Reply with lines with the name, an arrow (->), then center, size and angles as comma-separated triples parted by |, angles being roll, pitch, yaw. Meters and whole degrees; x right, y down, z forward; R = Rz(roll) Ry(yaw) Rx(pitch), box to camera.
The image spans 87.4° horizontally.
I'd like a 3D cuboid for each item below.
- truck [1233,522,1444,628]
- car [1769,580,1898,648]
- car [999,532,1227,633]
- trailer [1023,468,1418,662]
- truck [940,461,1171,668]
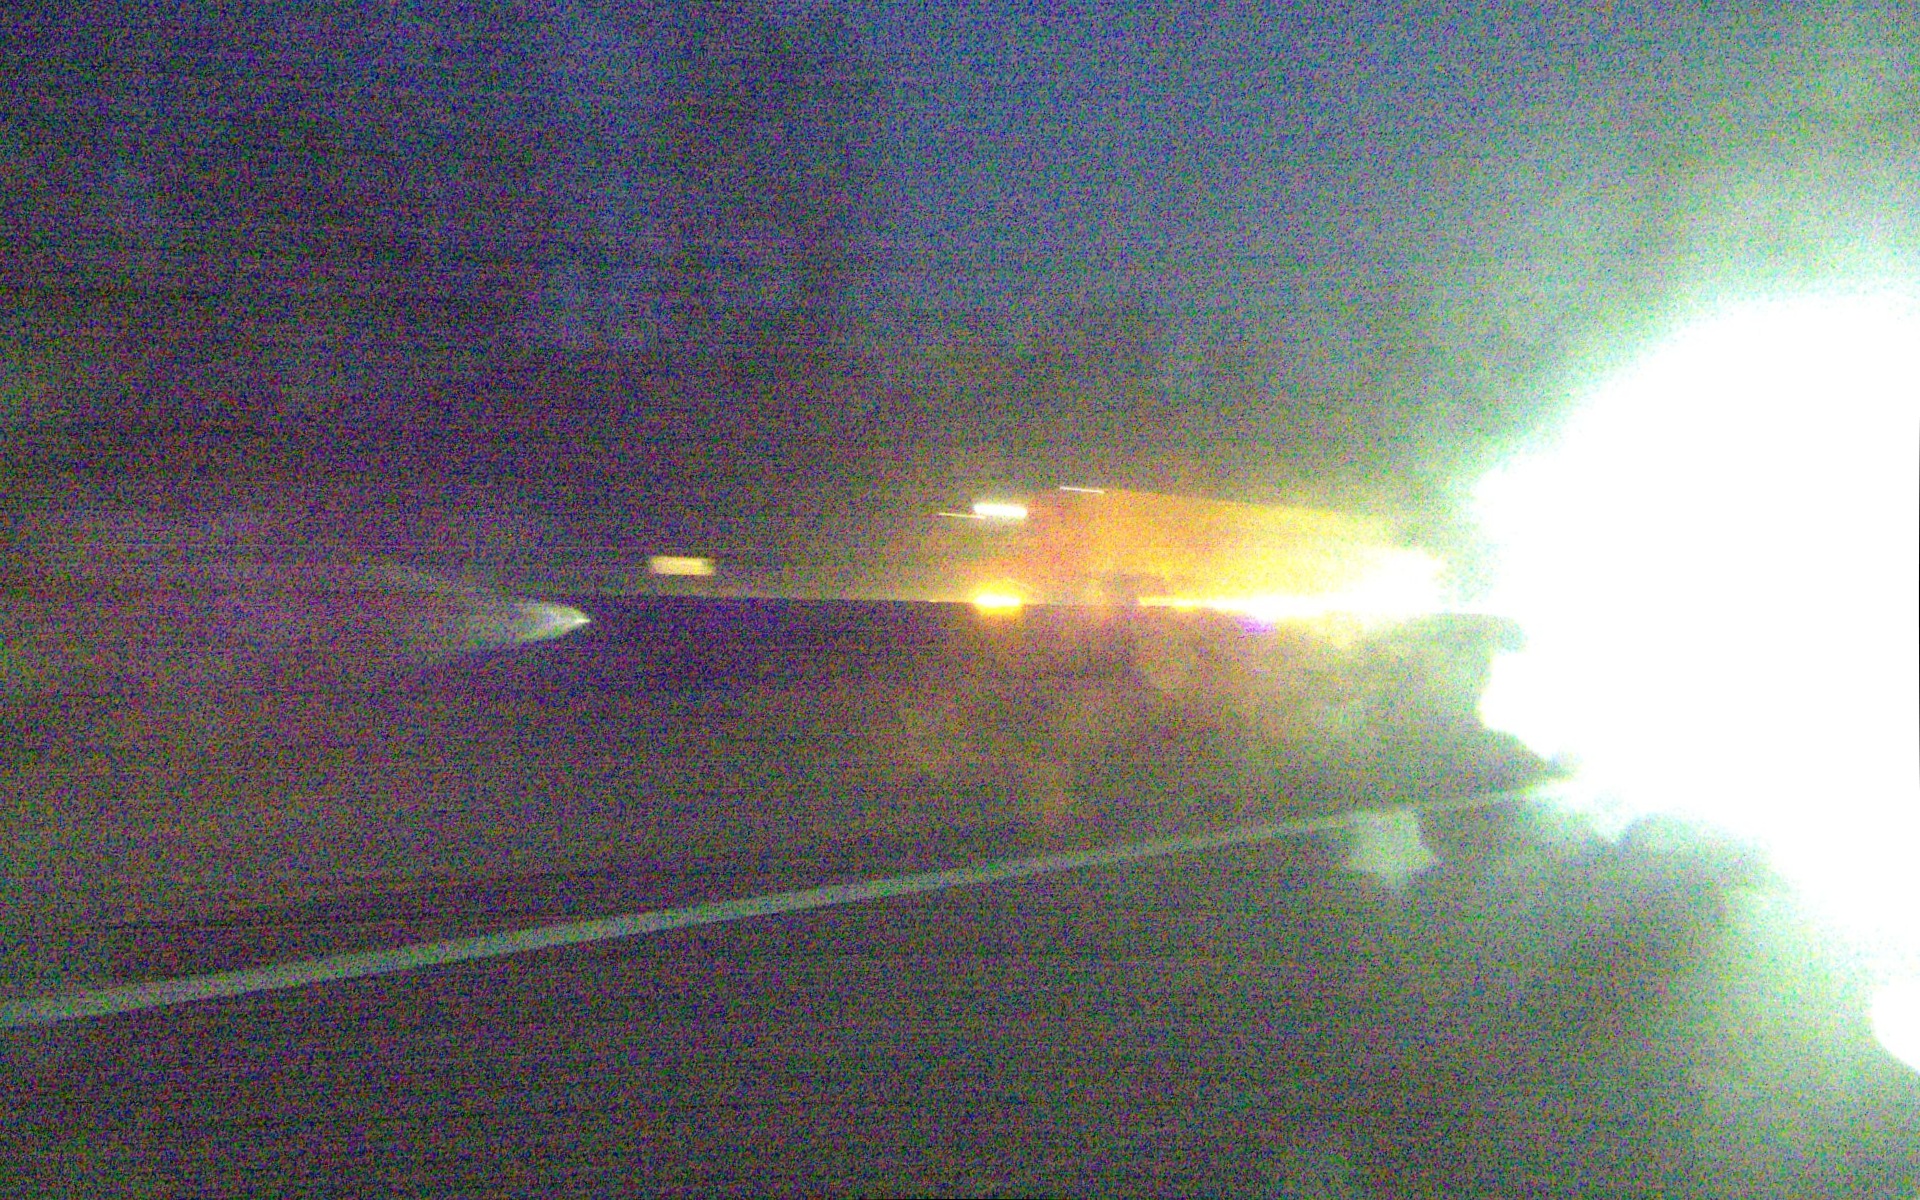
truck -> 10.863, -0.678, 28.705 | 6.052, 2.708, 2.273 | 1, 4, -31
car -> 29.752, 0.417, 34.176 | 5.142, 2.041, 1.980 | -1, 5, -35
car -> 2.964, -0.374, 19.329 | 3.955, 1.709, 1.982 | -1, 5, -32
trailer -> 8.802, -1.084, 31.888 | 14.775, 5.161, 2.754 | -1, 5, -33
truck -> 2.688, -1.003, 27.874 | 5.819, 5.167, 2.735 | -1, 5, -33
